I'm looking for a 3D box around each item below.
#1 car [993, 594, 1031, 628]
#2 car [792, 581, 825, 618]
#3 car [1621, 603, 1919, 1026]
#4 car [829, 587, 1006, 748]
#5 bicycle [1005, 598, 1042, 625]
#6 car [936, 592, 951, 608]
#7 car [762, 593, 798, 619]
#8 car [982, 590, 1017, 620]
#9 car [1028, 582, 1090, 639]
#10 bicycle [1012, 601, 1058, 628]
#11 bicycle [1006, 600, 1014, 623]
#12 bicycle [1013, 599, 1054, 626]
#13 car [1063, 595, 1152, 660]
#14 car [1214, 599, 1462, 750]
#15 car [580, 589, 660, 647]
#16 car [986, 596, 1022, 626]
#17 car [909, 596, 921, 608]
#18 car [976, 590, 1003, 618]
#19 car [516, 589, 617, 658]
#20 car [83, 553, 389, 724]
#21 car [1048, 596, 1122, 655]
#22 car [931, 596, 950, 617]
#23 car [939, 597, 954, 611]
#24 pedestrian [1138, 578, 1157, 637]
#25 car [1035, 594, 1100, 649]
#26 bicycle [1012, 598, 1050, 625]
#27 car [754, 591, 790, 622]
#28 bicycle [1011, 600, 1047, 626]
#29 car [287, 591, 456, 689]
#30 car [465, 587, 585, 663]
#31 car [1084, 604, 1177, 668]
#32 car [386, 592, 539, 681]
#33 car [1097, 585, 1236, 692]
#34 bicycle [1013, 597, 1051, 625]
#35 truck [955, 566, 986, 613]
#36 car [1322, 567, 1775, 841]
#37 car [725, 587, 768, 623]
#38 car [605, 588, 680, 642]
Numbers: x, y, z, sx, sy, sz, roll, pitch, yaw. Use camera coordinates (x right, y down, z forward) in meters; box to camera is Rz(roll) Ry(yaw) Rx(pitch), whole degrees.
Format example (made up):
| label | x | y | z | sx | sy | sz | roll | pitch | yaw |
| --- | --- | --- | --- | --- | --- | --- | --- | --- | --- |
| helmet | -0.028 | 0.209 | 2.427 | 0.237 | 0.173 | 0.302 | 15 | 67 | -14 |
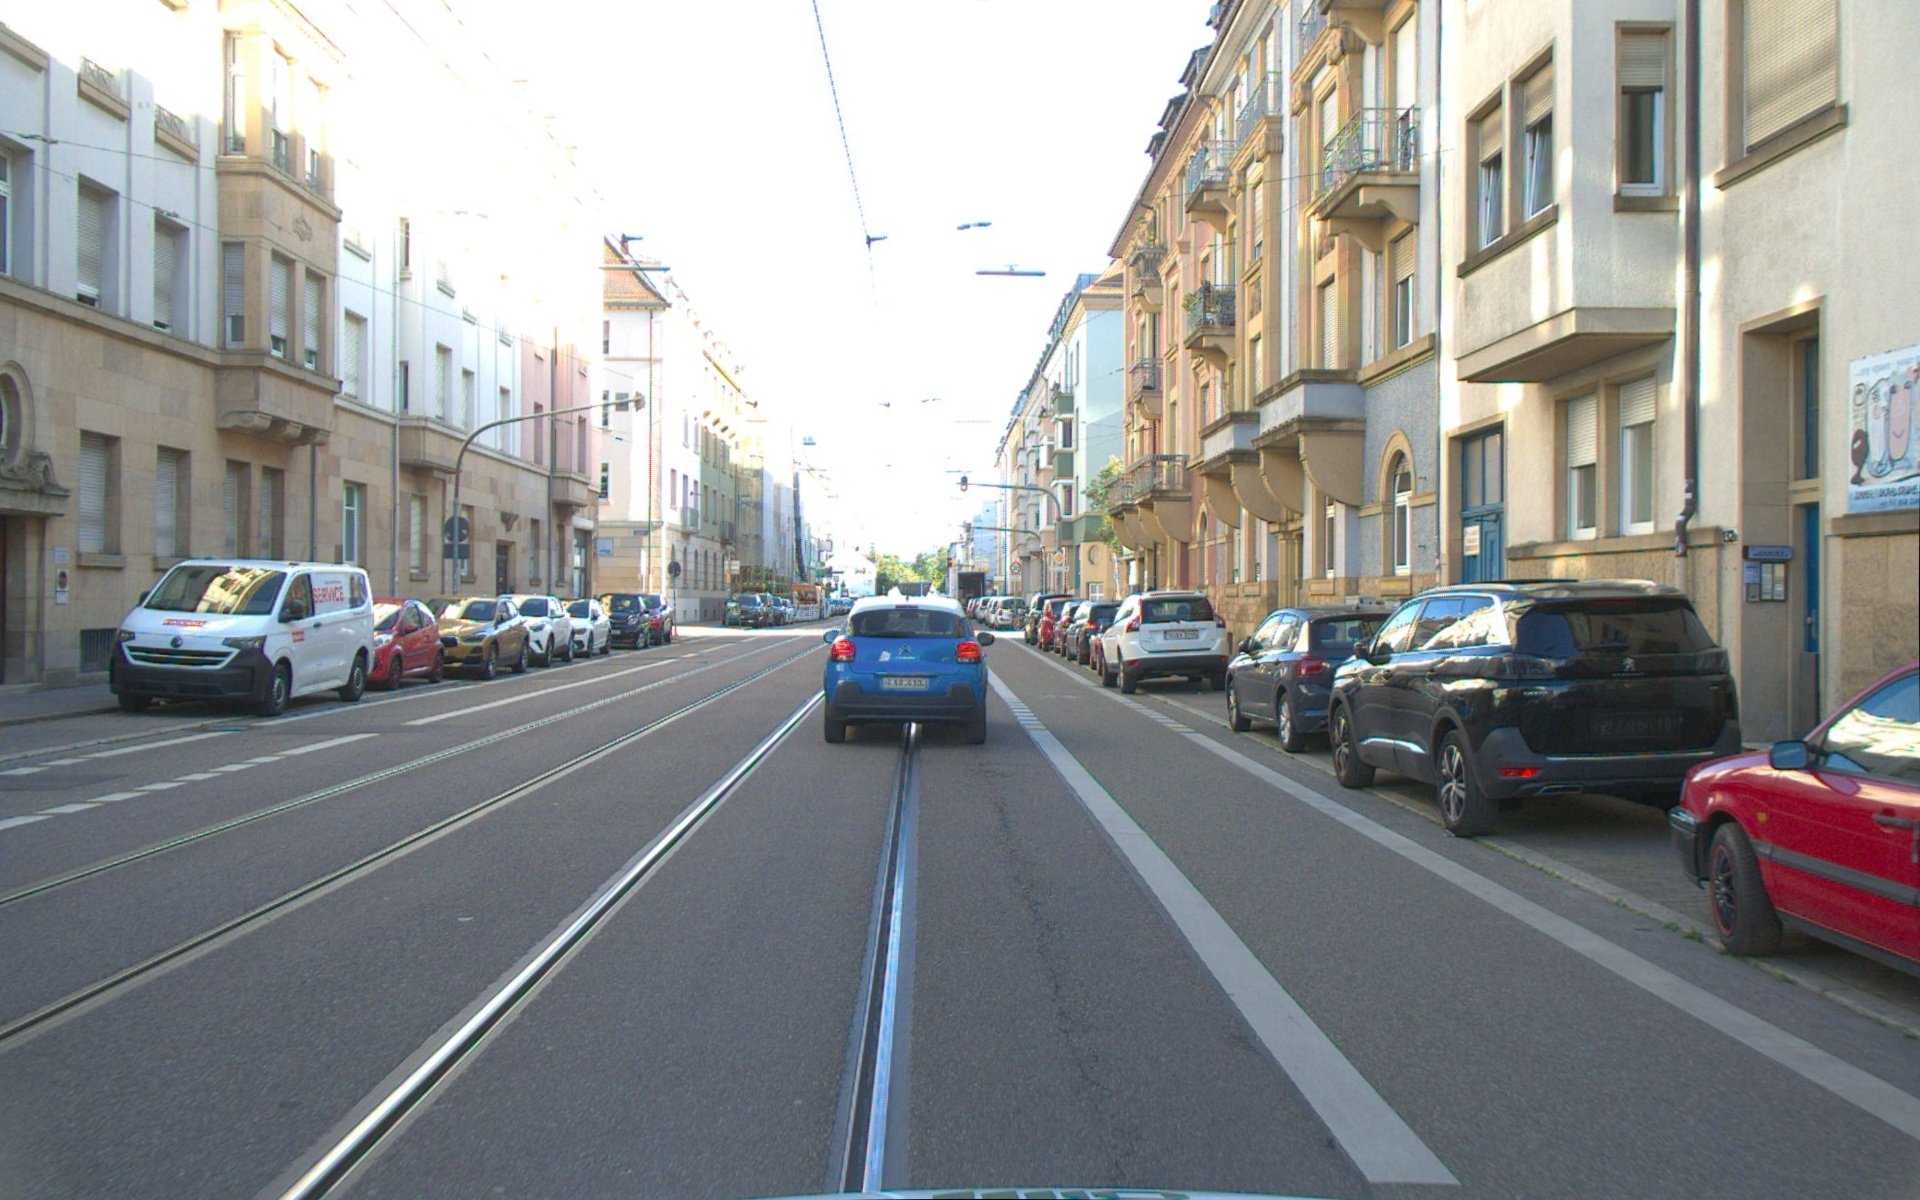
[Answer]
| label | x | y | z | sx | sy | sz | roll | pitch | yaw |
| --- | --- | --- | --- | --- | --- | --- | --- | --- | --- |
| car | 2.592 | 0.540 | 83.881 | 1.747 | 1.660 | 3.999 | 0 | 0 | -1 |
| car | -10.819 | -0.037 | 118.595 | 2.102 | 2.519 | 4.977 | 1 | 0 | -3 |
| car | 4.300 | 0.764 | 6.011 | 1.821 | 1.481 | 4.708 | 0 | 0 | -2 |
| car | -0.448 | 0.657 | 18.283 | 1.700 | 1.533 | 3.991 | 2 | 0 | -1 |
| bicycle | 3.040 | 0.557 | 79.230 | 1.688 | 1.174 | 0.469 | -3 | 0 | -1 |
| car | -2.431 | -0.053 | 247.057 | 2.175 | 2.324 | 4.083 | 0 | 0 | -1 |
| car | -11.022 | 0.357 | 101.420 | 1.683 | 1.529 | 4.388 | 2 | 0 | 0 |
| car | 2.377 | 0.286 | 100.605 | 1.623 | 1.782 | 4.598 | 0 | 0 | -5 |
| car | 3.340 | 0.342 | 56.722 | 1.718 | 1.766 | 4.506 | -3 | 0 | -1 |
| bicycle | 3.450 | 0.664 | 76.085 | 2.044 | 1.174 | 0.848 | -3 | 0 | -1 |
| bicycle | 2.403 | 0.541 | 79.013 | 0.345 | 1.063 | 1.728 | 0 | 0 | 0 |
| bicycle | 3.411 | 0.575 | 76.771 | 1.805 | 1.174 | 0.469 | -3 | 0 | -1 |
| car | 3.562 | 0.629 | 40.537 | 1.621 | 1.509 | 4.472 | 0 | 0 | -2 |
| car | 4.019 | 0.724 | 18.236 | 1.702 | 1.467 | 4.031 | 0 | 0 | -2 |
| car | -9.982 | 0.505 | 48.711 | 1.747 | 1.580 | 3.018 | 2 | 0 | -1 |
| car | 2.364 | 0.584 | 89.627 | 1.747 | 1.603 | 4.325 | 0 | 0 | -1 |
| car | -6.546 | 0.297 | 241.665 | 1.789 | 1.660 | 4.489 | 0 | 0 | -1 |
| car | 2.011 | 0.239 | 112.984 | 1.695 | 1.859 | 4.685 | 0 | 0 | -1 |
| car | -10.077 | 0.565 | 42.639 | 1.748 | 1.650 | 4.177 | 2 | 0 | -3 |
| car | -9.562 | 0.453 | 22.401 | 1.933 | 1.983 | 5.250 | 2 | 0 | -2 |
| car | 3.400 | 0.666 | 45.618 | 1.621 | 1.539 | 4.473 | 0 | 0 | -1 |
| car | -1.853 | 0.565 | 157.244 | 1.784 | 1.927 | 3.999 | 1 | 0 | -1 |
| car | -1.566 | 0.442 | 188.017 | 1.729 | 1.513 | 4.031 | 0 | 0 | -1 |
| pedestrian | 5.472 | 0.209 | 48.198 | 0.502 | 1.716 | 0.447 | 0 | 0 | -2 |
| car | 3.231 | 0.623 | 50.211 | 1.717 | 1.622 | 3.729 | 0 | 0 | 0 |
| bicycle | 3.374 | 0.523 | 78.556 | 1.688 | 1.174 | 0.469 | -3 | 0 | -1 |
| car | -10.823 | 0.361 | 95.374 | 1.748 | 1.655 | 4.606 | 2 | 0 | -3 |
| bicycle | 3.379 | 0.621 | 80.926 | 1.688 | 1.174 | 0.469 | -3 | 0 | -1 |
| car | -9.844 | 0.622 | 27.942 | 1.570 | 1.498 | 3.645 | 2 | 0 | -1 |
| car | -9.834 | 0.535 | 37.707 | 1.736 | 1.574 | 4.363 | 2 | 0 | -3 |
| car | 3.599 | 0.725 | 35.571 | 1.620 | 1.271 | 4.505 | 0 | 0 | 1 |
| car | -9.612 | 0.653 | 32.288 | 1.747 | 1.550 | 4.358 | 2 | 0 | -2 |
| car | 3.529 | 0.617 | 28.992 | 1.805 | 1.720 | 4.504 | 0 | 0 | -1 |
| bicycle | 3.400 | 0.517 | 78.009 | 1.688 | 1.174 | 0.469 | -3 | 0 | -1 |
| truck | 0.921 | -0.961 | 154.788 | 2.795 | 4.154 | 11.270 | 0 | 0 | 0 |
| car | 4.139 | 0.635 | 12.511 | 1.821 | 1.695 | 4.561 | 0 | 0 | 0 |
| car | -10.791 | 0.222 | 83.722 | 1.748 | 1.720 | 4.665 | 2 | 0 | -3 |
| car | -10.178 | 0.449 | 53.337 | 1.748 | 1.634 | 4.394 | 2 | 0 | -3 |
